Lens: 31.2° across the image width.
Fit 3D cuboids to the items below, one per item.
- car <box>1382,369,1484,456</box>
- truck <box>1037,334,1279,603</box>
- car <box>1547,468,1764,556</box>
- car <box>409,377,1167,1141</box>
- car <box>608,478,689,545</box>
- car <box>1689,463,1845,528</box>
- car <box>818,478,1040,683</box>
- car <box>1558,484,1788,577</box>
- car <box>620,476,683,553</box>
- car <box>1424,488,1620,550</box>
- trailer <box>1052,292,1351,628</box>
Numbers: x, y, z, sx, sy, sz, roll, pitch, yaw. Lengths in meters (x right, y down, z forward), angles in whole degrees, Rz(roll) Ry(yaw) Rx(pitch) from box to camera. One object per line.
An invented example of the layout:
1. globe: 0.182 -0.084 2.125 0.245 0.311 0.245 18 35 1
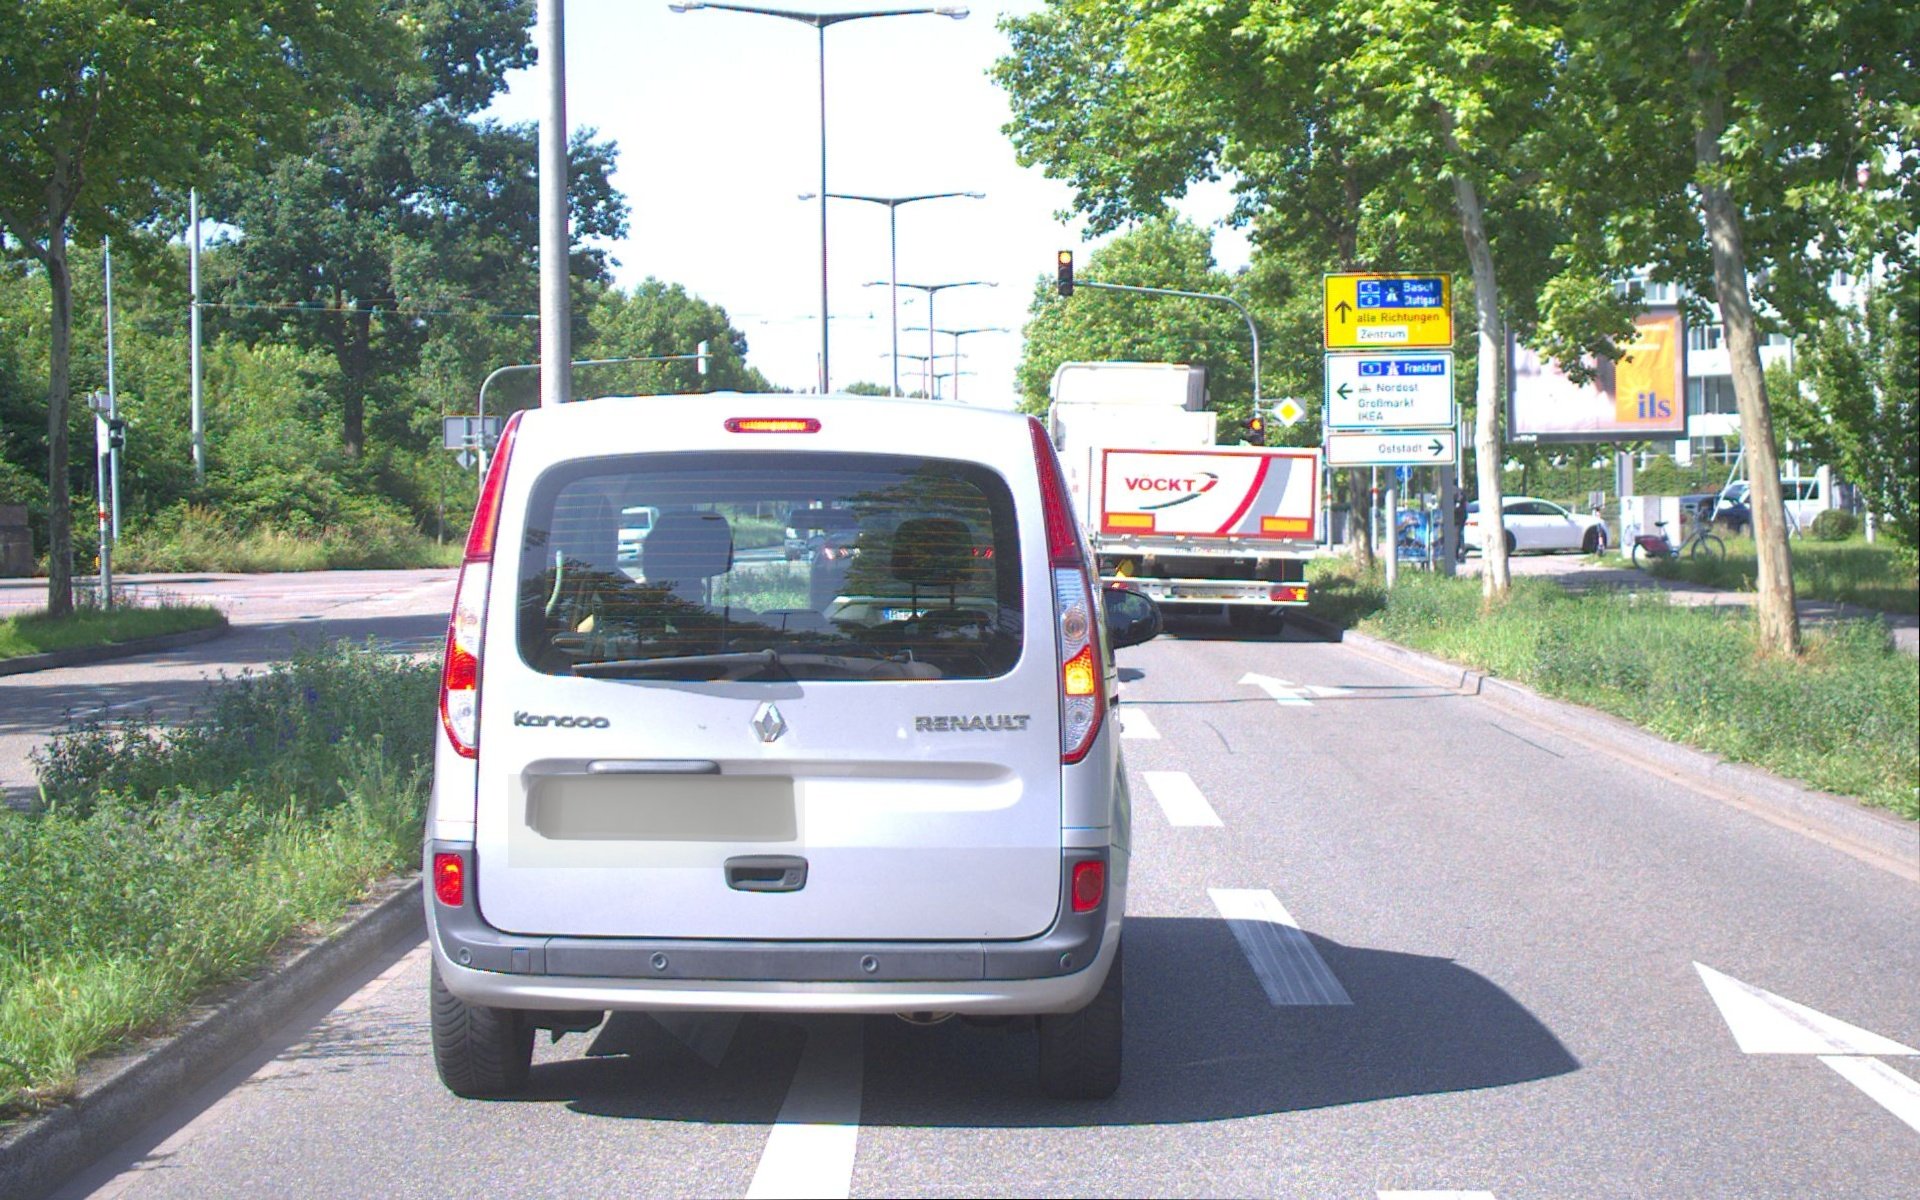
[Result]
1. car: 10.326 -4.085 75.262 1.816 1.788 3.443 1 1 1
2. truck: 2.866 -1.936 52.021 3.071 3.745 7.477 1 1 -1
3. car: 13.578 -1.732 67.310 3.988 1.656 1.723 1 1 6
4. car: -0.420 0.323 9.996 1.749 1.766 3.950 1 1 0
5. car: -9.372 -2.676 103.671 1.993 1.884 4.988 -2 1 -1
6. car: 26.153 -3.378 111.437 4.522 2.007 2.001 0 1 -18
7. car: -0.338 -0.208 30.390 1.809 1.678 4.001 1 1 -2
8. car: 13.170 -1.288 63.688 3.988 1.656 1.723 1 1 6
9. car: -10.848 -3.013 120.608 2.058 2.605 5.871 1 1 -6
10. car: 13.337 -1.917 81.563 4.439 1.422 1.731 0 2 -28
11. trailer: 2.868 -1.722 44.628 3.016 3.727 12.241 1 1 0
